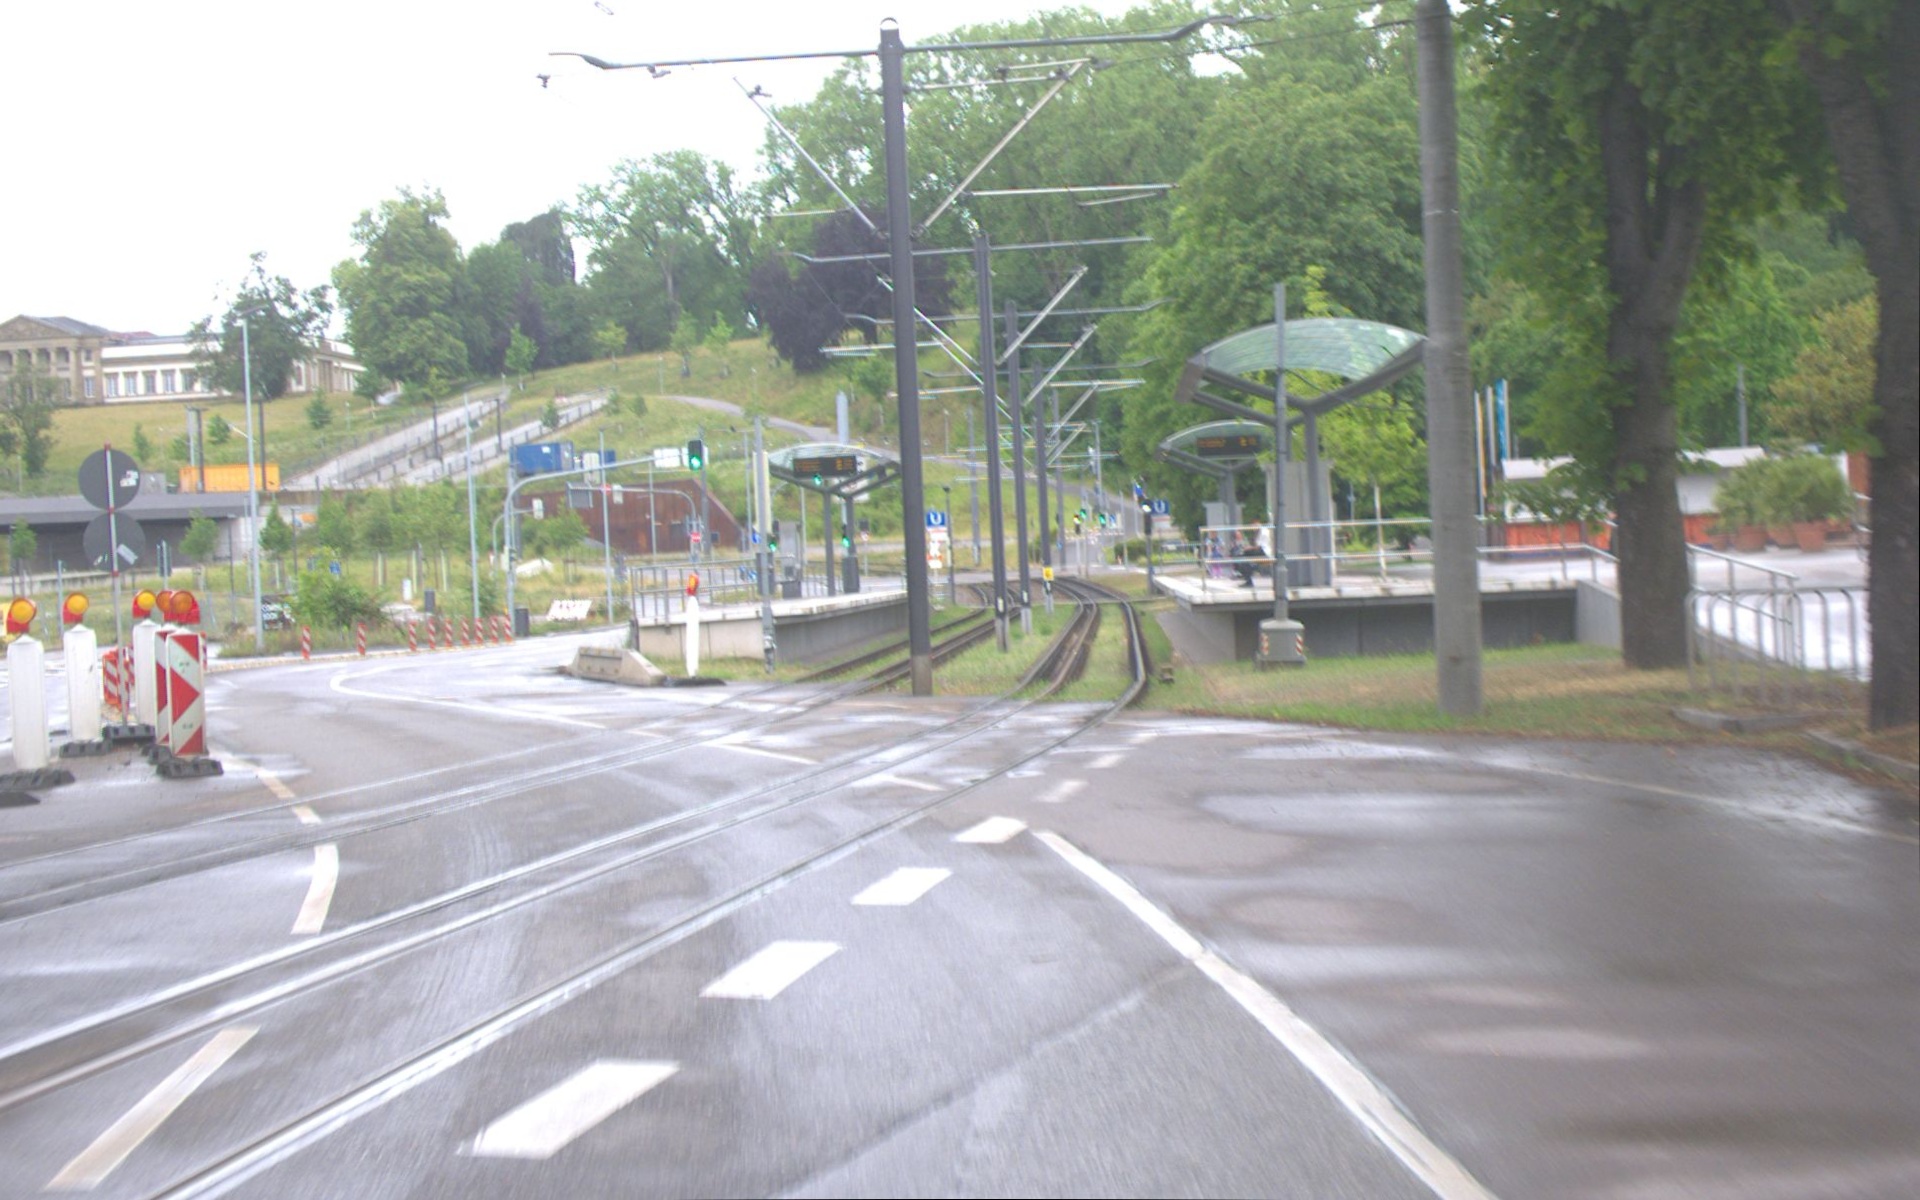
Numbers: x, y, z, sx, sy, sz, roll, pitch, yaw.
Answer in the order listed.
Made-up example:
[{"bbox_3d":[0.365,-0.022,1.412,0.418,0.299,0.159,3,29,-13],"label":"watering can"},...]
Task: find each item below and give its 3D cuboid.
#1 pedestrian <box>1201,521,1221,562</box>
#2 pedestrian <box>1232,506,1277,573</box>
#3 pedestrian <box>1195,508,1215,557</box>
[{"bbox_3d":[6.376,-1.486,87.315,0.437,1.005,0.551,-3,0,3],"label":"pedestrian"},{"bbox_3d":[5.006,-1.025,58.466,0.600,1.115,0.520,2,0,-13],"label":"pedestrian"},{"bbox_3d":[6.282,-1.724,88.041,0.437,1.222,0.551,-3,0,3],"label":"pedestrian"}]
